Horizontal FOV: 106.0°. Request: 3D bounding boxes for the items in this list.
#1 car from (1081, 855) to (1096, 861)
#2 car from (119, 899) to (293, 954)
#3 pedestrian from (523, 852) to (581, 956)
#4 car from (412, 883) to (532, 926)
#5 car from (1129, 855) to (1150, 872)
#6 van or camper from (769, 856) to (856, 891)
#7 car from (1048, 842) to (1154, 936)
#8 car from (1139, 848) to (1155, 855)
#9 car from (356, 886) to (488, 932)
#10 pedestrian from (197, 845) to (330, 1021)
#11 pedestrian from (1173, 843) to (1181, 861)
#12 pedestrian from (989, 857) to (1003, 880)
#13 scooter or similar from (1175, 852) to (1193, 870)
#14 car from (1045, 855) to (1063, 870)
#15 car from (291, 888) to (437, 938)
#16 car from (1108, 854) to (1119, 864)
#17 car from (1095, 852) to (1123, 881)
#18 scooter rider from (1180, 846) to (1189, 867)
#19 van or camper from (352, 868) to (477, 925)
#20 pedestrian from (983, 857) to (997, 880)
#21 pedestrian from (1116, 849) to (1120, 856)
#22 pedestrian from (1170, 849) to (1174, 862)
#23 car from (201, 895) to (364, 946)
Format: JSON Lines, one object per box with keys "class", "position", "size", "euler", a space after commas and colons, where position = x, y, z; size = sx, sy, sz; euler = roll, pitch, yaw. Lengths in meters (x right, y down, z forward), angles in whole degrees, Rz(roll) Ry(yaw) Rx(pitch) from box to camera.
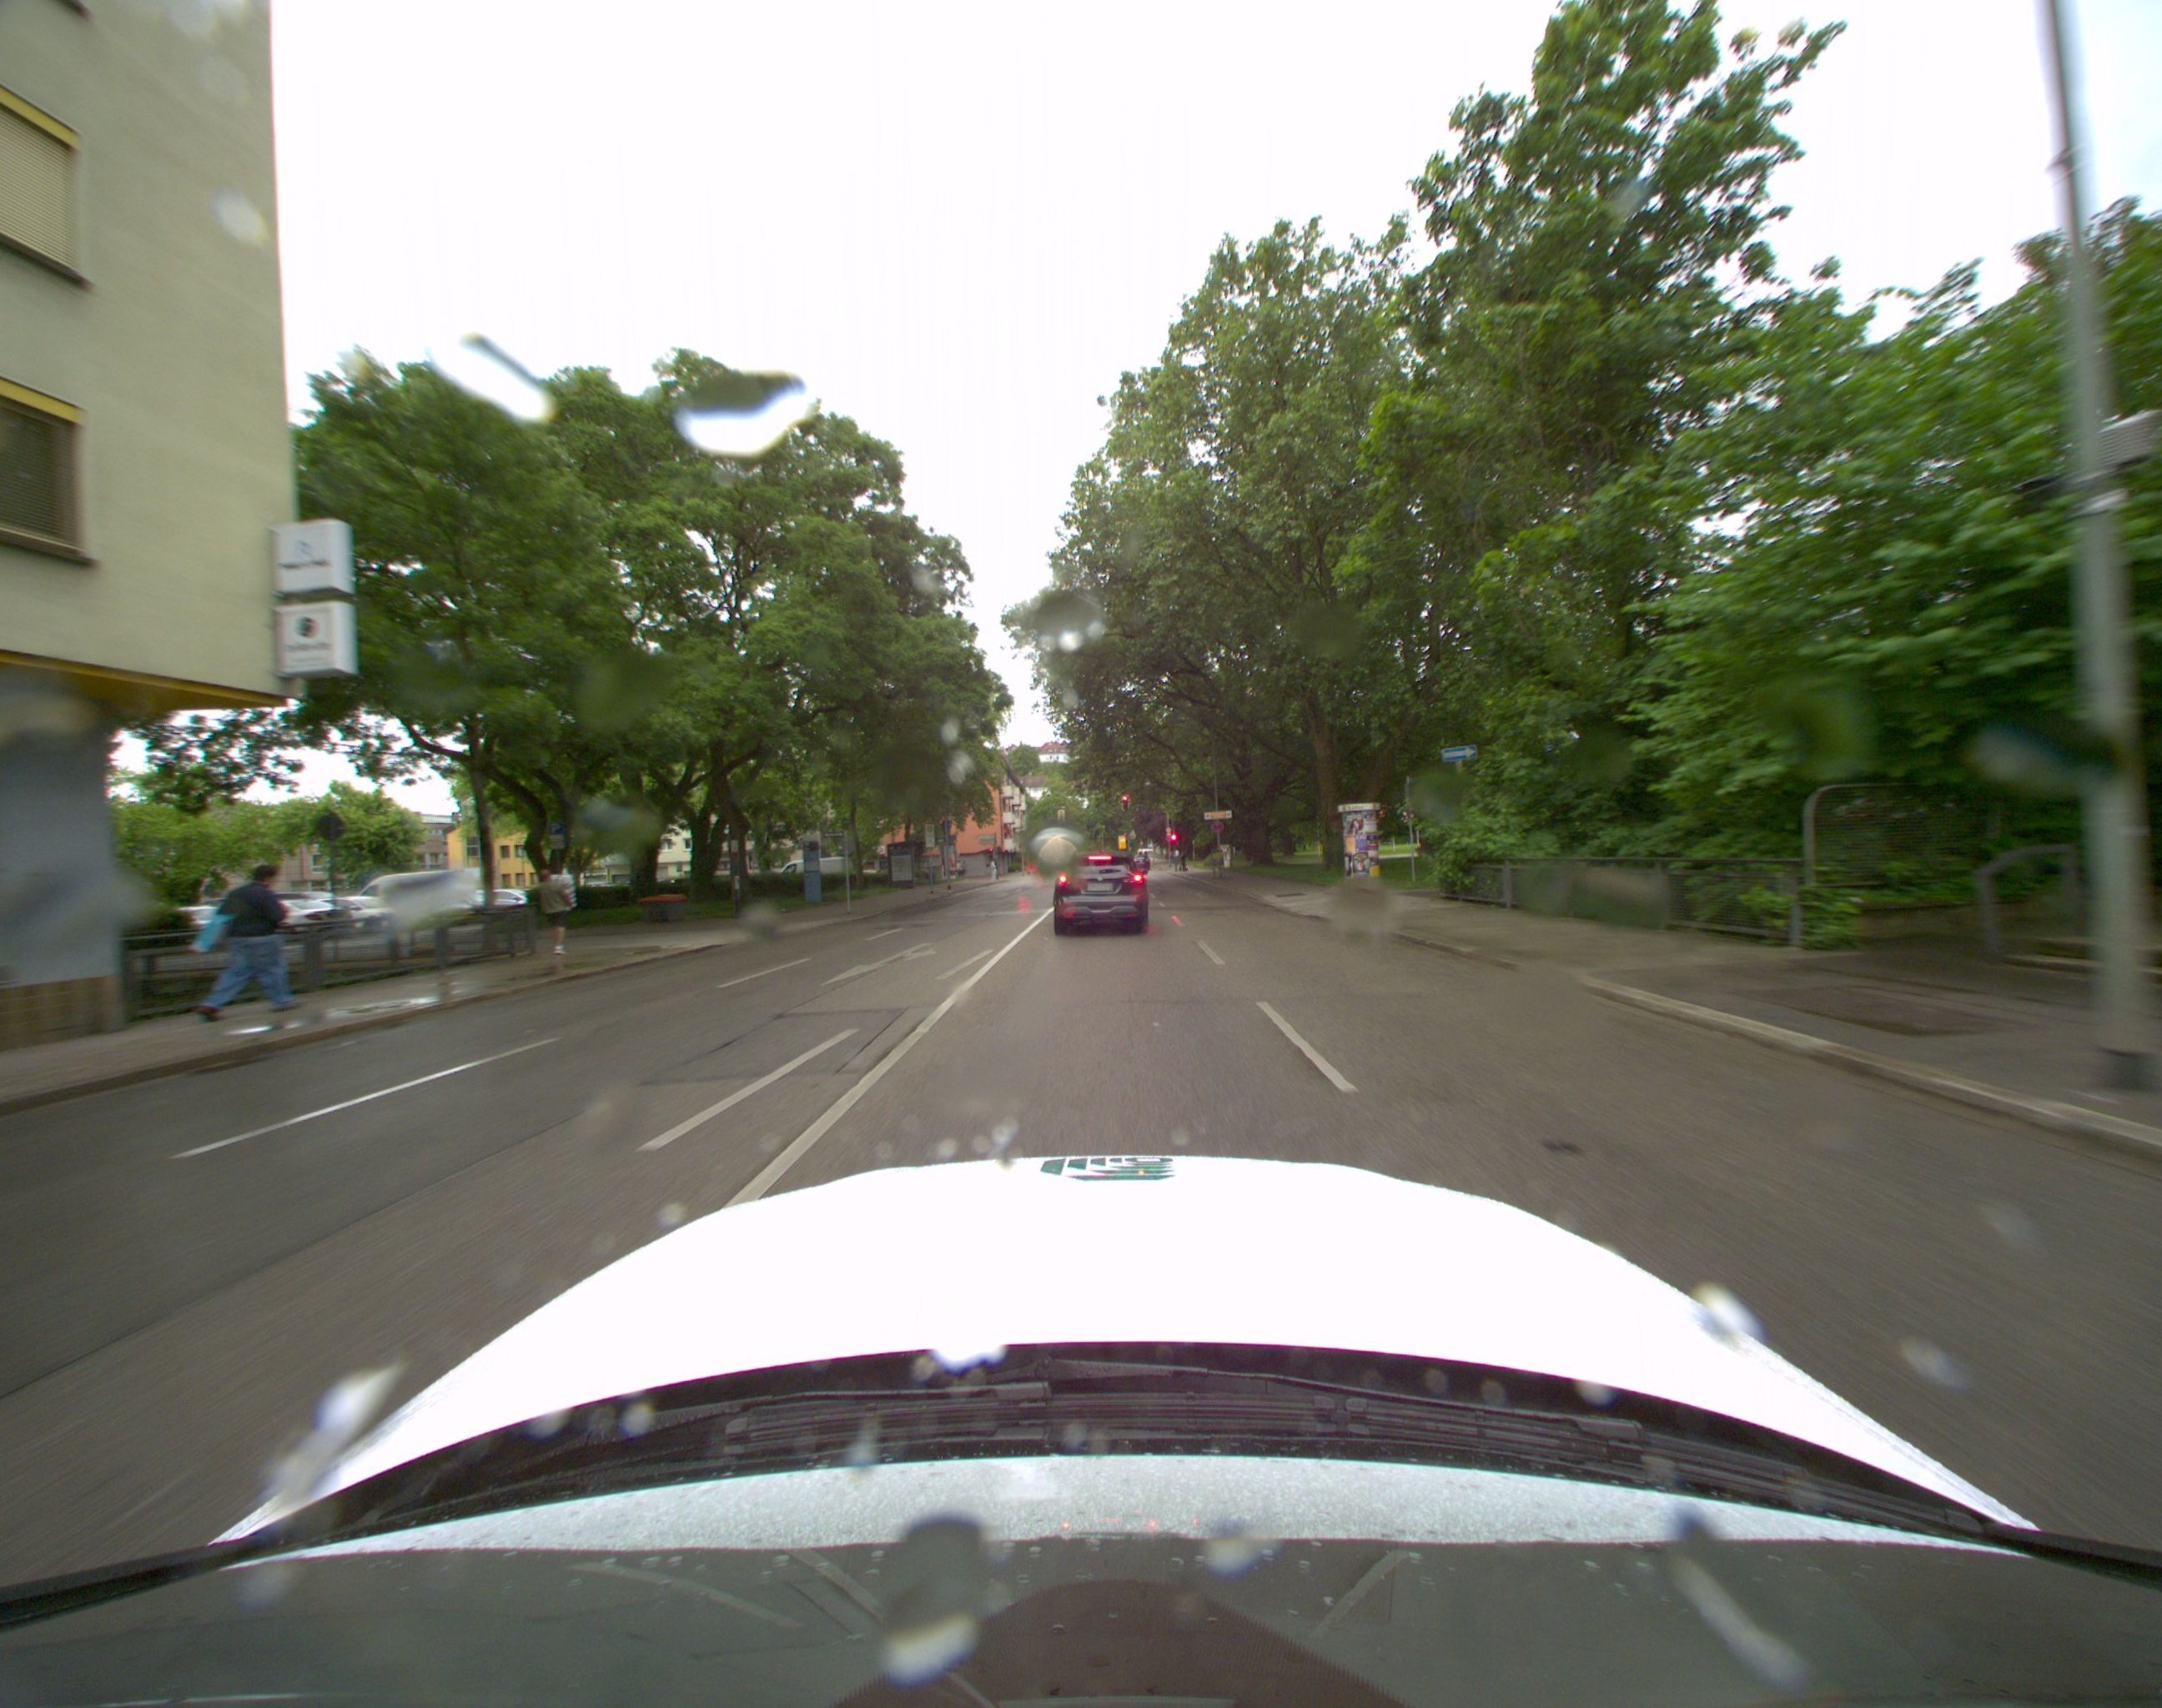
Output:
{"class": "car", "position": [2.021, 1.133, 215.684], "size": [3.972, 1.668, 1.702], "euler": [0, -1, 1]}
{"class": "car", "position": [-28.299, 2.325, 26.427], "size": [3.616, 1.463, 1.864], "euler": [-3, 0, 2]}
{"class": "pedestrian", "position": [-10.285, 0.945, 15.868], "size": [0.822, 1.924, 0.911], "euler": [-2, 0, -29]}
{"class": "car", "position": [-27.440, 2.248, 36.784], "size": [3.970, 1.625, 1.865], "euler": [-3, 0, 3]}
{"class": "car", "position": [6.012, 0.963, 83.105], "size": [1.983, 1.735, 4.008], "euler": [0, -1, 7]}
{"class": "van or camper", "position": [-16.640, 1.184, 50.638], "size": [4.581, 1.949, 2.000], "euler": [-3, 0, -1]}
{"class": "car", "position": [0.446, 0.647, 17.015], "size": [1.906, 1.680, 4.002], "euler": [-1, 0, 2]}
{"class": "car", "position": [17.527, -0.645, 216.895], "size": [4.010, 1.668, 1.697], "euler": [0, -1, -7]}
{"class": "car", "position": [-27.376, 2.266, 33.933], "size": [3.970, 1.625, 1.865], "euler": [-3, 0, 3]}
{"class": "pedestrian", "position": [-9.869, 0.922, 9.856], "size": [0.746, 2.013, 0.784], "euler": [-3, 0, 8]}
{"class": "pedestrian", "position": [10.929, -0.263, 93.126], "size": [0.722, 2.013, 0.852], "euler": [-3, 0, 2]}
{"class": "pedestrian", "position": [-6.949, 1.172, 66.590], "size": [1.035, 1.876, 0.656], "euler": [-2, -1, -10]}
{"class": "scooter or similar", "position": [8.711, 0.597, 68.848], "size": [1.384, 1.446, 0.820], "euler": [-3, -1, 14]}
{"class": "car", "position": [-2.937, 0.911, 89.841], "size": [1.791, 1.533, 3.865], "euler": [-4, 0, -2]}
{"class": "car", "position": [-27.778, 2.269, 31.627], "size": [4.022, 1.625, 1.865], "euler": [-3, 0, 3]}
{"class": "car", "position": [5.337, 0.769, 132.780], "size": [1.628, 1.532, 3.969], "euler": [-3, 0, 2]}
{"class": "car", "position": [1.875, 0.797, 54.317], "size": [1.692, 1.745, 3.642], "euler": [-3, 0, 2]}
{"class": "scooter rider", "position": [8.740, 0.218, 68.850], "size": [0.638, 1.766, 0.738], "euler": [-3, -2, 14]}
{"class": "van or camper", "position": [-32.397, 2.041, 39.669], "size": [4.309, 2.431, 2.101], "euler": [-3, 0, 3]}
{"class": "pedestrian", "position": [-7.347, 1.166, 65.710], "size": [1.035, 1.876, 0.656], "euler": [-2, -1, -10]}
{"class": "pedestrian", "position": [8.303, -0.336, 180.723], "size": [0.503, 1.673, 0.663], "euler": [-4, 0, 30]}
{"class": "pedestrian", "position": [10.898, 0.154, 97.452], "size": [0.388, 1.502, 0.559], "euler": [-3, 0, 2]}
{"class": "car", "position": [-28.246, 2.345, 28.902], "size": [3.970, 1.463, 1.865], "euler": [-3, 0, 3]}
